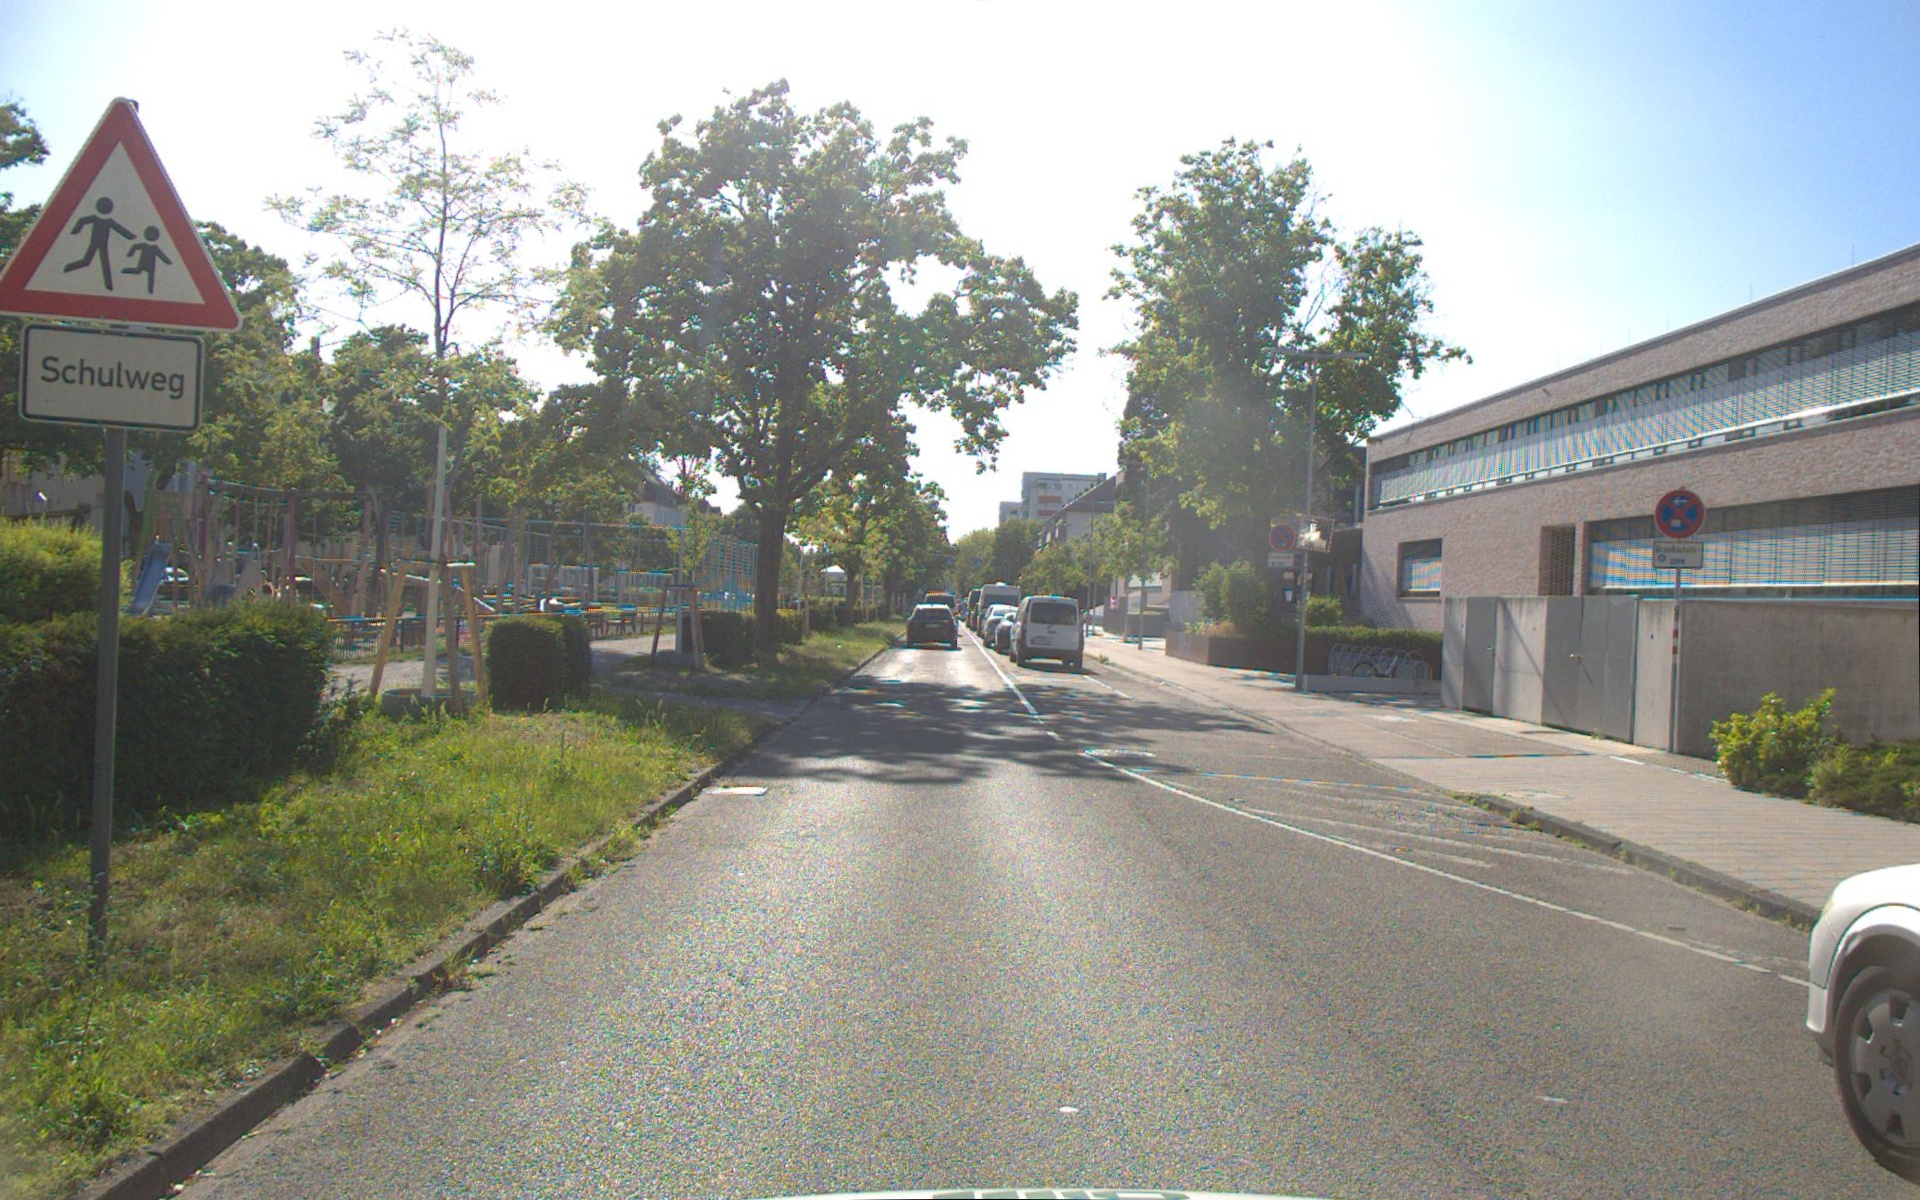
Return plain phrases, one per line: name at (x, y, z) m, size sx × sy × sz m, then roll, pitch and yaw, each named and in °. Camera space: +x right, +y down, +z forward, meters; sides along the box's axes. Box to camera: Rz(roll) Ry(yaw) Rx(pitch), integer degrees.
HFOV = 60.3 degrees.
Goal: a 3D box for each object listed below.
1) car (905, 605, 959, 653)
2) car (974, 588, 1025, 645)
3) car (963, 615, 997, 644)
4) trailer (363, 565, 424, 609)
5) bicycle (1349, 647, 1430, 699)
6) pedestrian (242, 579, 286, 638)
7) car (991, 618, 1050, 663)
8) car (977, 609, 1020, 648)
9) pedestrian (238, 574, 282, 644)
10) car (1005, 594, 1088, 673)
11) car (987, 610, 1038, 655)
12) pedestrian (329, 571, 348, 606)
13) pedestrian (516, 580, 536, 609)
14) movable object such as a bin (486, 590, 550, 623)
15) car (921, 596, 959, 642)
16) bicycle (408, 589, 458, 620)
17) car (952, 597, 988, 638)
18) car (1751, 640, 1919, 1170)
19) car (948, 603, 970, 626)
car at (-0.955, 1.008, 57.946) m, size 1.758 × 1.536 × 3.999 m, roll 3°, pitch -1°, yaw 0°
car at (1.902, 0.807, 81.615) m, size 2.195 × 2.619 × 5.431 m, roll 3°, pitch -1°, yaw 0°
car at (1.155, 1.751, 99.021) m, size 1.809 × 1.669 × 4.502 m, roll 2°, pitch -1°, yaw -1°
trailer at (-40.173, -0.911, 117.468) m, size 2.296 × 2.920 × 5.801 m, roll 3°, pitch 0°, yaw -1°
bicycle at (9.696, 1.644, 37.381) m, size 1.635 × 1.047 × 0.500 m, roll 4°, pitch -1°, yaw -3°
pedestrian at (-16.521, 0.206, 39.255) m, size 0.634 × 1.352 × 0.650 m, roll 3°, pitch -1°, yaw 17°
car at (1.978, 1.315, 55.178) m, size 1.667 × 1.348 × 4.128 m, roll 3°, pitch -1°, yaw -1°
car at (1.696, 1.272, 74.156) m, size 1.587 × 1.616 × 3.590 m, roll 3°, pitch 0°, yaw -3°
pedestrian at (-17.202, 0.226, 40.643) m, size 0.634 × 1.690 × 0.650 m, roll 3°, pitch -1°, yaw 17°
car at (2.282, 0.867, 44.807) m, size 1.772 × 1.941 × 4.459 m, roll 3°, pitch 0°, yaw -2°
car at (1.914, 1.192, 61.226) m, size 1.667 × 1.504 × 4.173 m, roll 3°, pitch -1°, yaw 0°
pedestrian at (-30.989, -0.558, 82.430) m, size 0.635 × 1.690 × 0.650 m, roll 2°, pitch -1°, yaw -1°
pedestrian at (-21.351, -0.274, 81.352) m, size 0.636 × 1.341 × 0.649 m, roll 2°, pitch -1°, yaw 28°
movable object such as a bin at (-17.868, 0.266, 66.877) m, size 2.285 × 1.263 × 1.055 m, roll 2°, pitch 0°, yaw -5°
car at (-0.990, 0.939, 82.329) m, size 1.758 × 2.159 × 3.999 m, roll 3°, pitch -1°, yaw 0°
bicycle at (-20.767, 0.186, 65.191) m, size 1.758 × 1.127 × 0.500 m, roll 3°, pitch 0°, yaw -3°
car at (0.633, 1.165, 111.177) m, size 2.073 × 2.559 × 6.529 m, roll 2°, pitch -1°, yaw -2°
car at (3.693, 0.934, 3.449) m, size 1.627 × 1.490 × 4.407 m, roll 4°, pitch -1°, yaw -5°
car at (-0.054, 1.284, 145.069) m, size 1.757 × 1.887 × 4.413 m, roll 3°, pitch 0°, yaw 2°
